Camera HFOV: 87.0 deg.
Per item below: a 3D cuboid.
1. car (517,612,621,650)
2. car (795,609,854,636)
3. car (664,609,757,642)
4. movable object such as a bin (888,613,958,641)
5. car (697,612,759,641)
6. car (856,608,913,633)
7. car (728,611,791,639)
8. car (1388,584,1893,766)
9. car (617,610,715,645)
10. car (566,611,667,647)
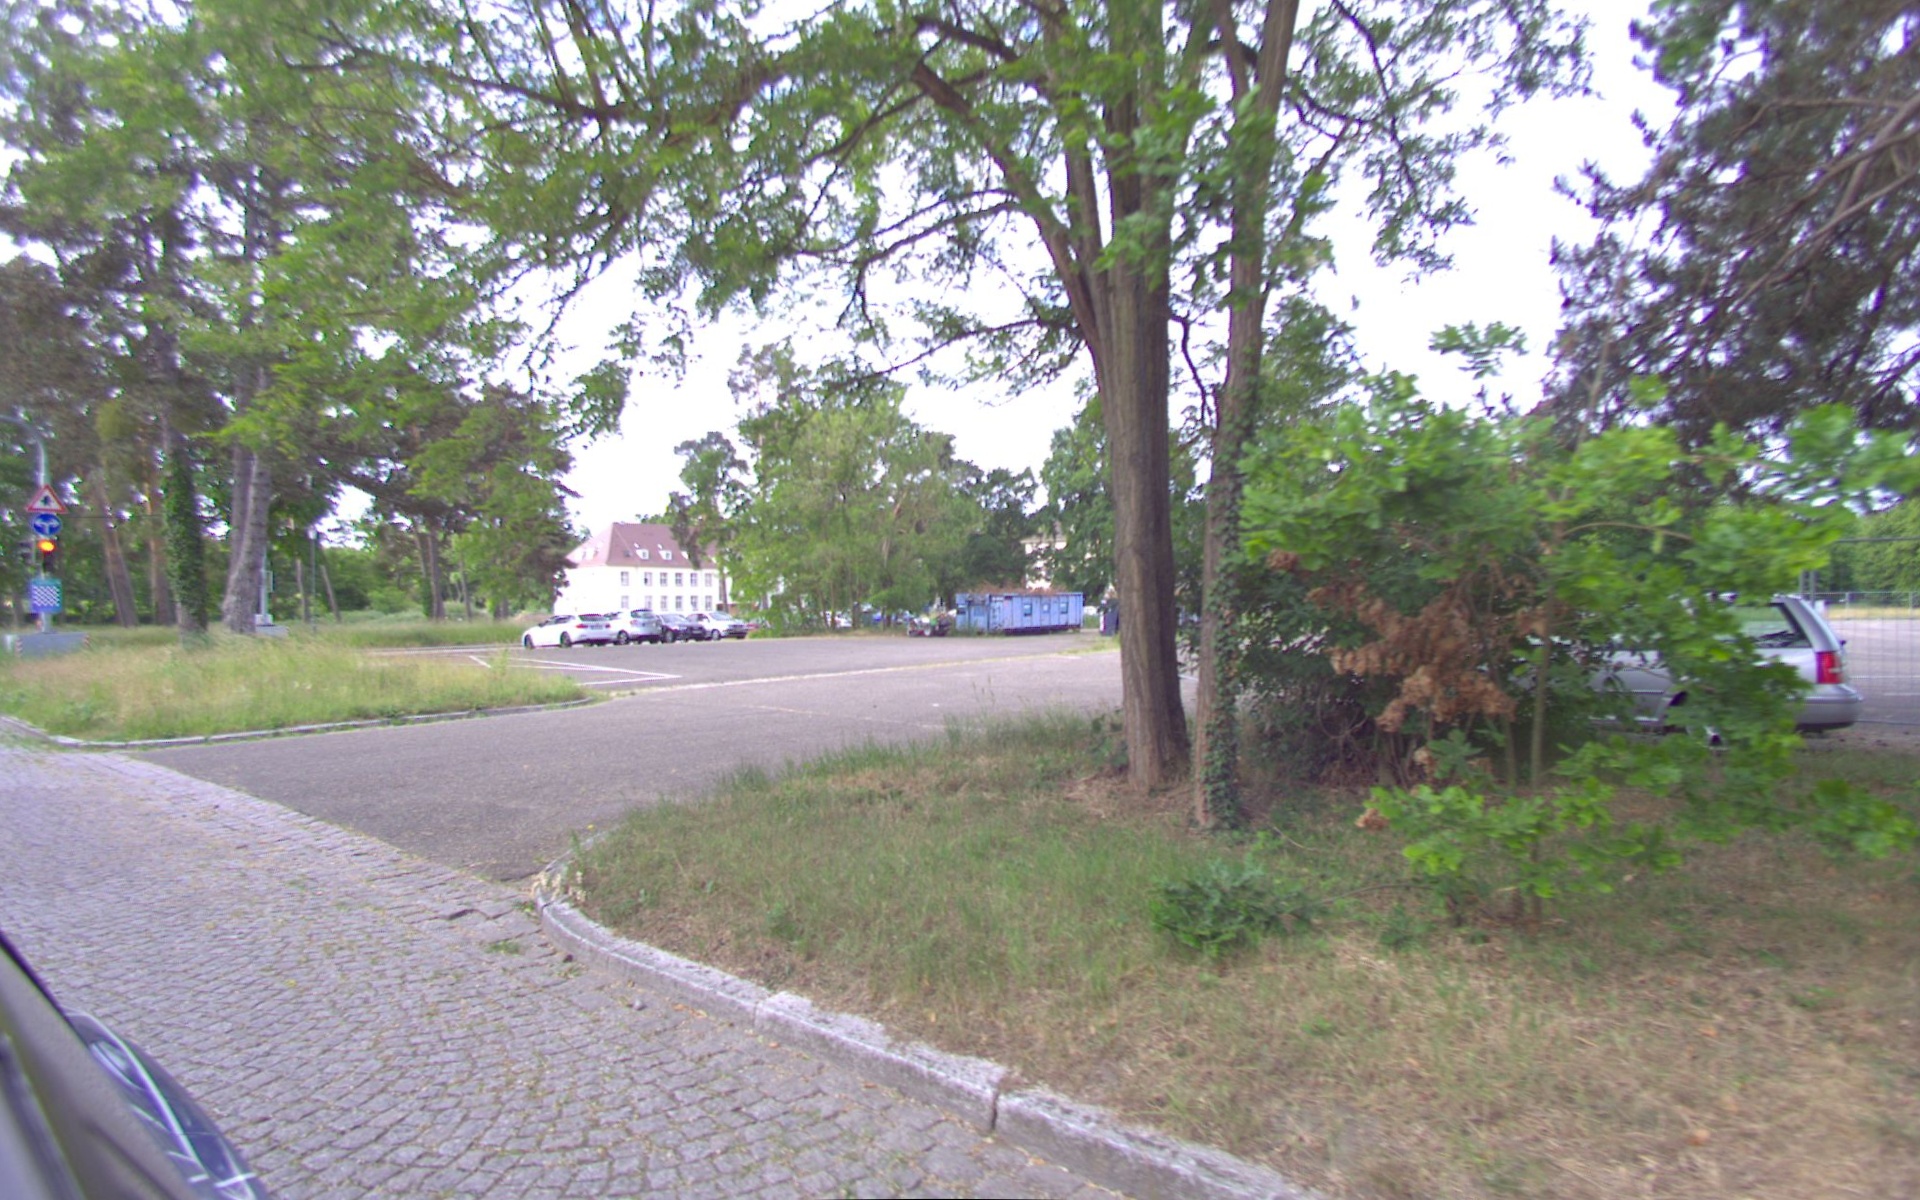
[{"bbox_3d":[-16.093,1.270,41.580,4.445,1.460,1.975,-1,-1,37],"label":"car"},{"bbox_3d":[-9.124,1.518,68.107,3.796,1.696,1.729,-1,-1,35],"label":"car"},{"bbox_3d":[-11.943,1.210,48.378,4.445,1.460,1.975,-1,-1,37],"label":"car"},{"bbox_3d":[-1.521,1.092,40.908,2.711,1.079,1.046,-1,-1,32],"label":"movable object such as a bin"},{"bbox_3d":[-14.144,1.585,61.649,3.796,1.696,1.593,-1,-1,35],"label":"car"},{"bbox_3d":[-5.371,1.471,71.553,3.796,1.696,1.729,-1,-1,35],"label":"car"},{"bbox_3d":[-12.678,1.564,63.911,3.796,1.696,1.729,-1,-1,35],"label":"car"},{"bbox_3d":[6.278,0.614,9.690,3.718,1.421,1.650,-1,-1,38],"label":"car"},{"bbox_3d":[-13.345,1.231,45.837,4.445,1.460,1.975,-1,-1,37],"label":"car"},{"bbox_3d":[-14.888,1.252,43.803,4.445,1.460,1.975,-1,-1,37],"label":"car"}]
